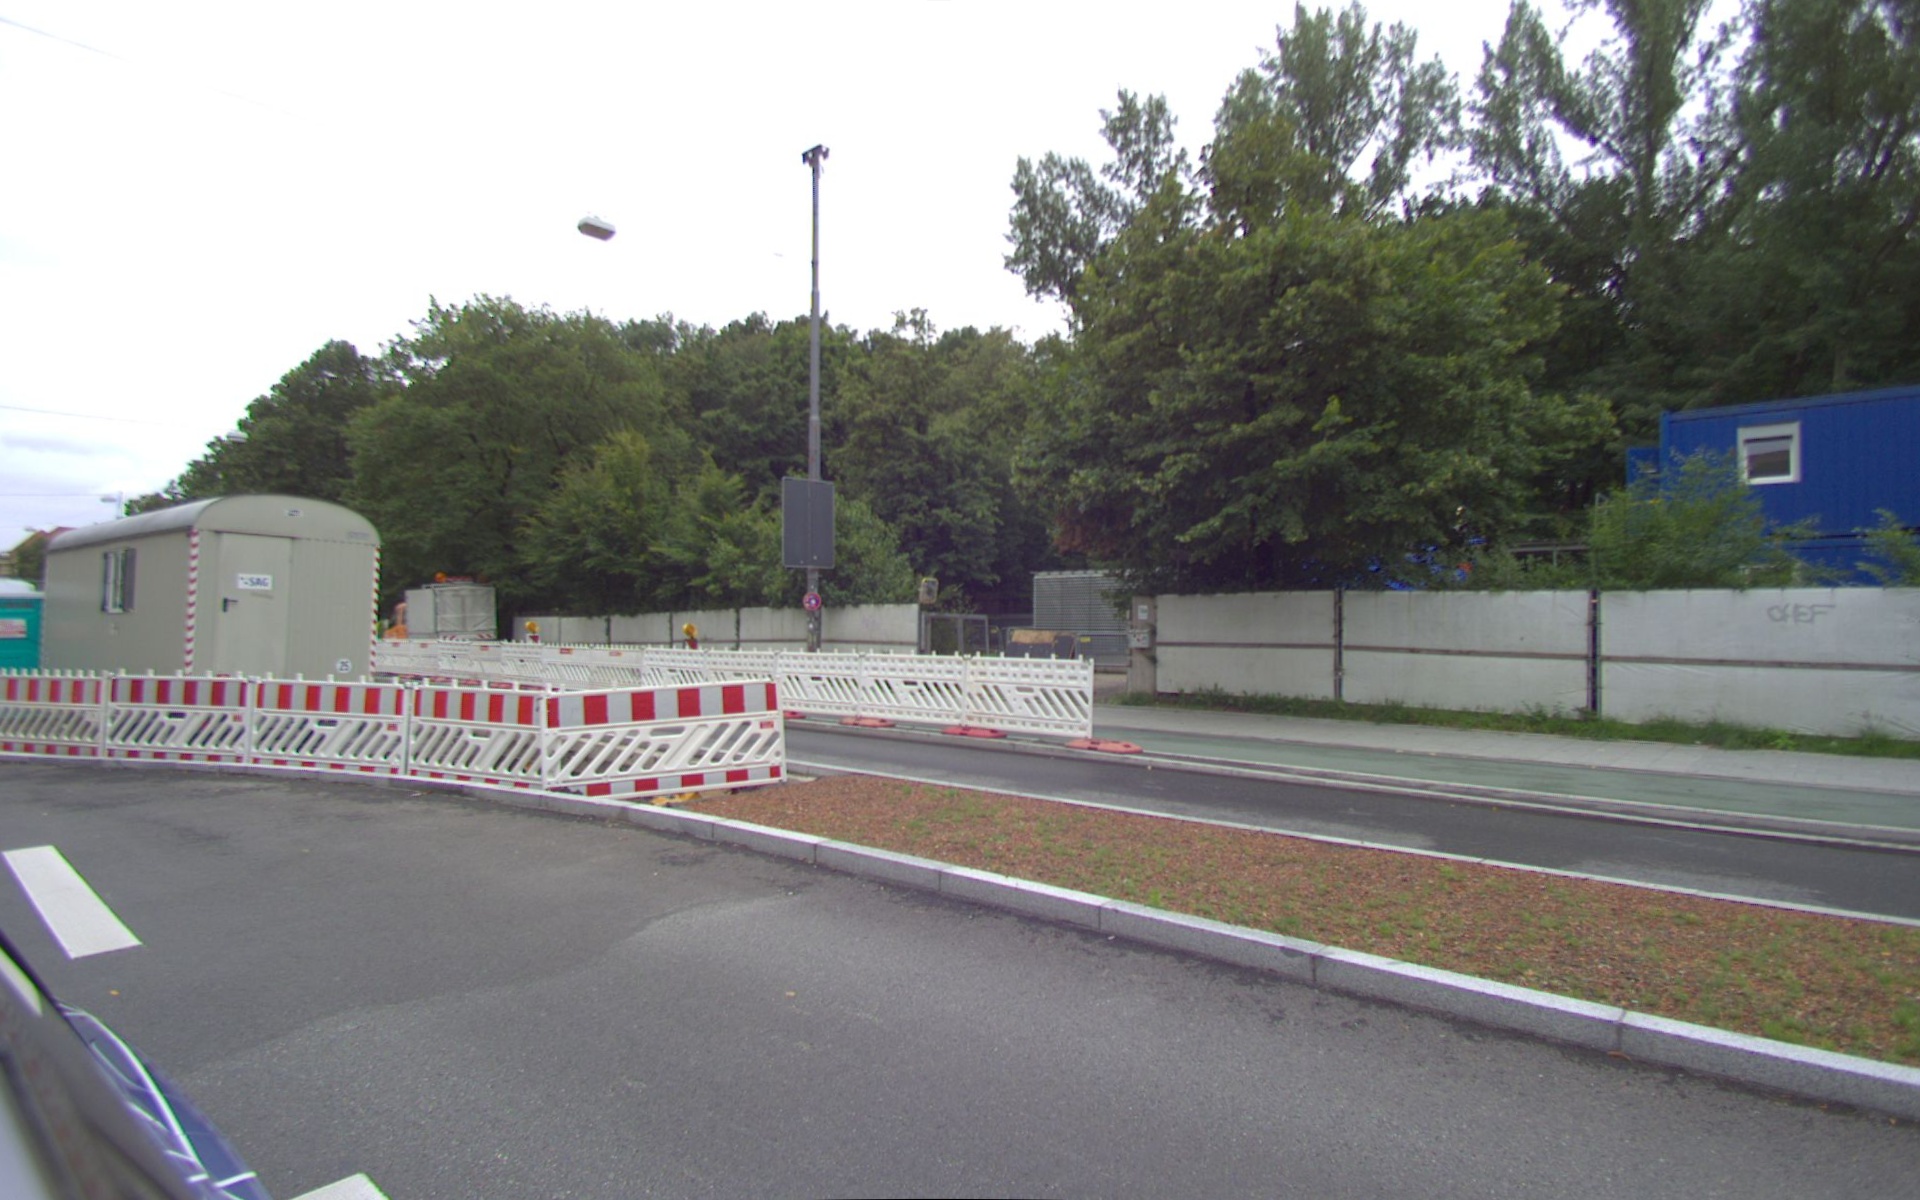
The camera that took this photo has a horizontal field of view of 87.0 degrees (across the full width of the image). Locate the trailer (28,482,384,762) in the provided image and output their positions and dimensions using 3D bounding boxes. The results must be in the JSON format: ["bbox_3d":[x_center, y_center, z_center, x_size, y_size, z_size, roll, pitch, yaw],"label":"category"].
[{"bbox_3d":[-11.388,0.360,14.968,7.506,3.268,2.206,-2,-2,37],"label":"trailer"}]

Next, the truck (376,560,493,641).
[{"bbox_3d":[-19.453,0.109,37.303,5.869,2.749,1.972,-2,-2,43],"label":"truck"}]
